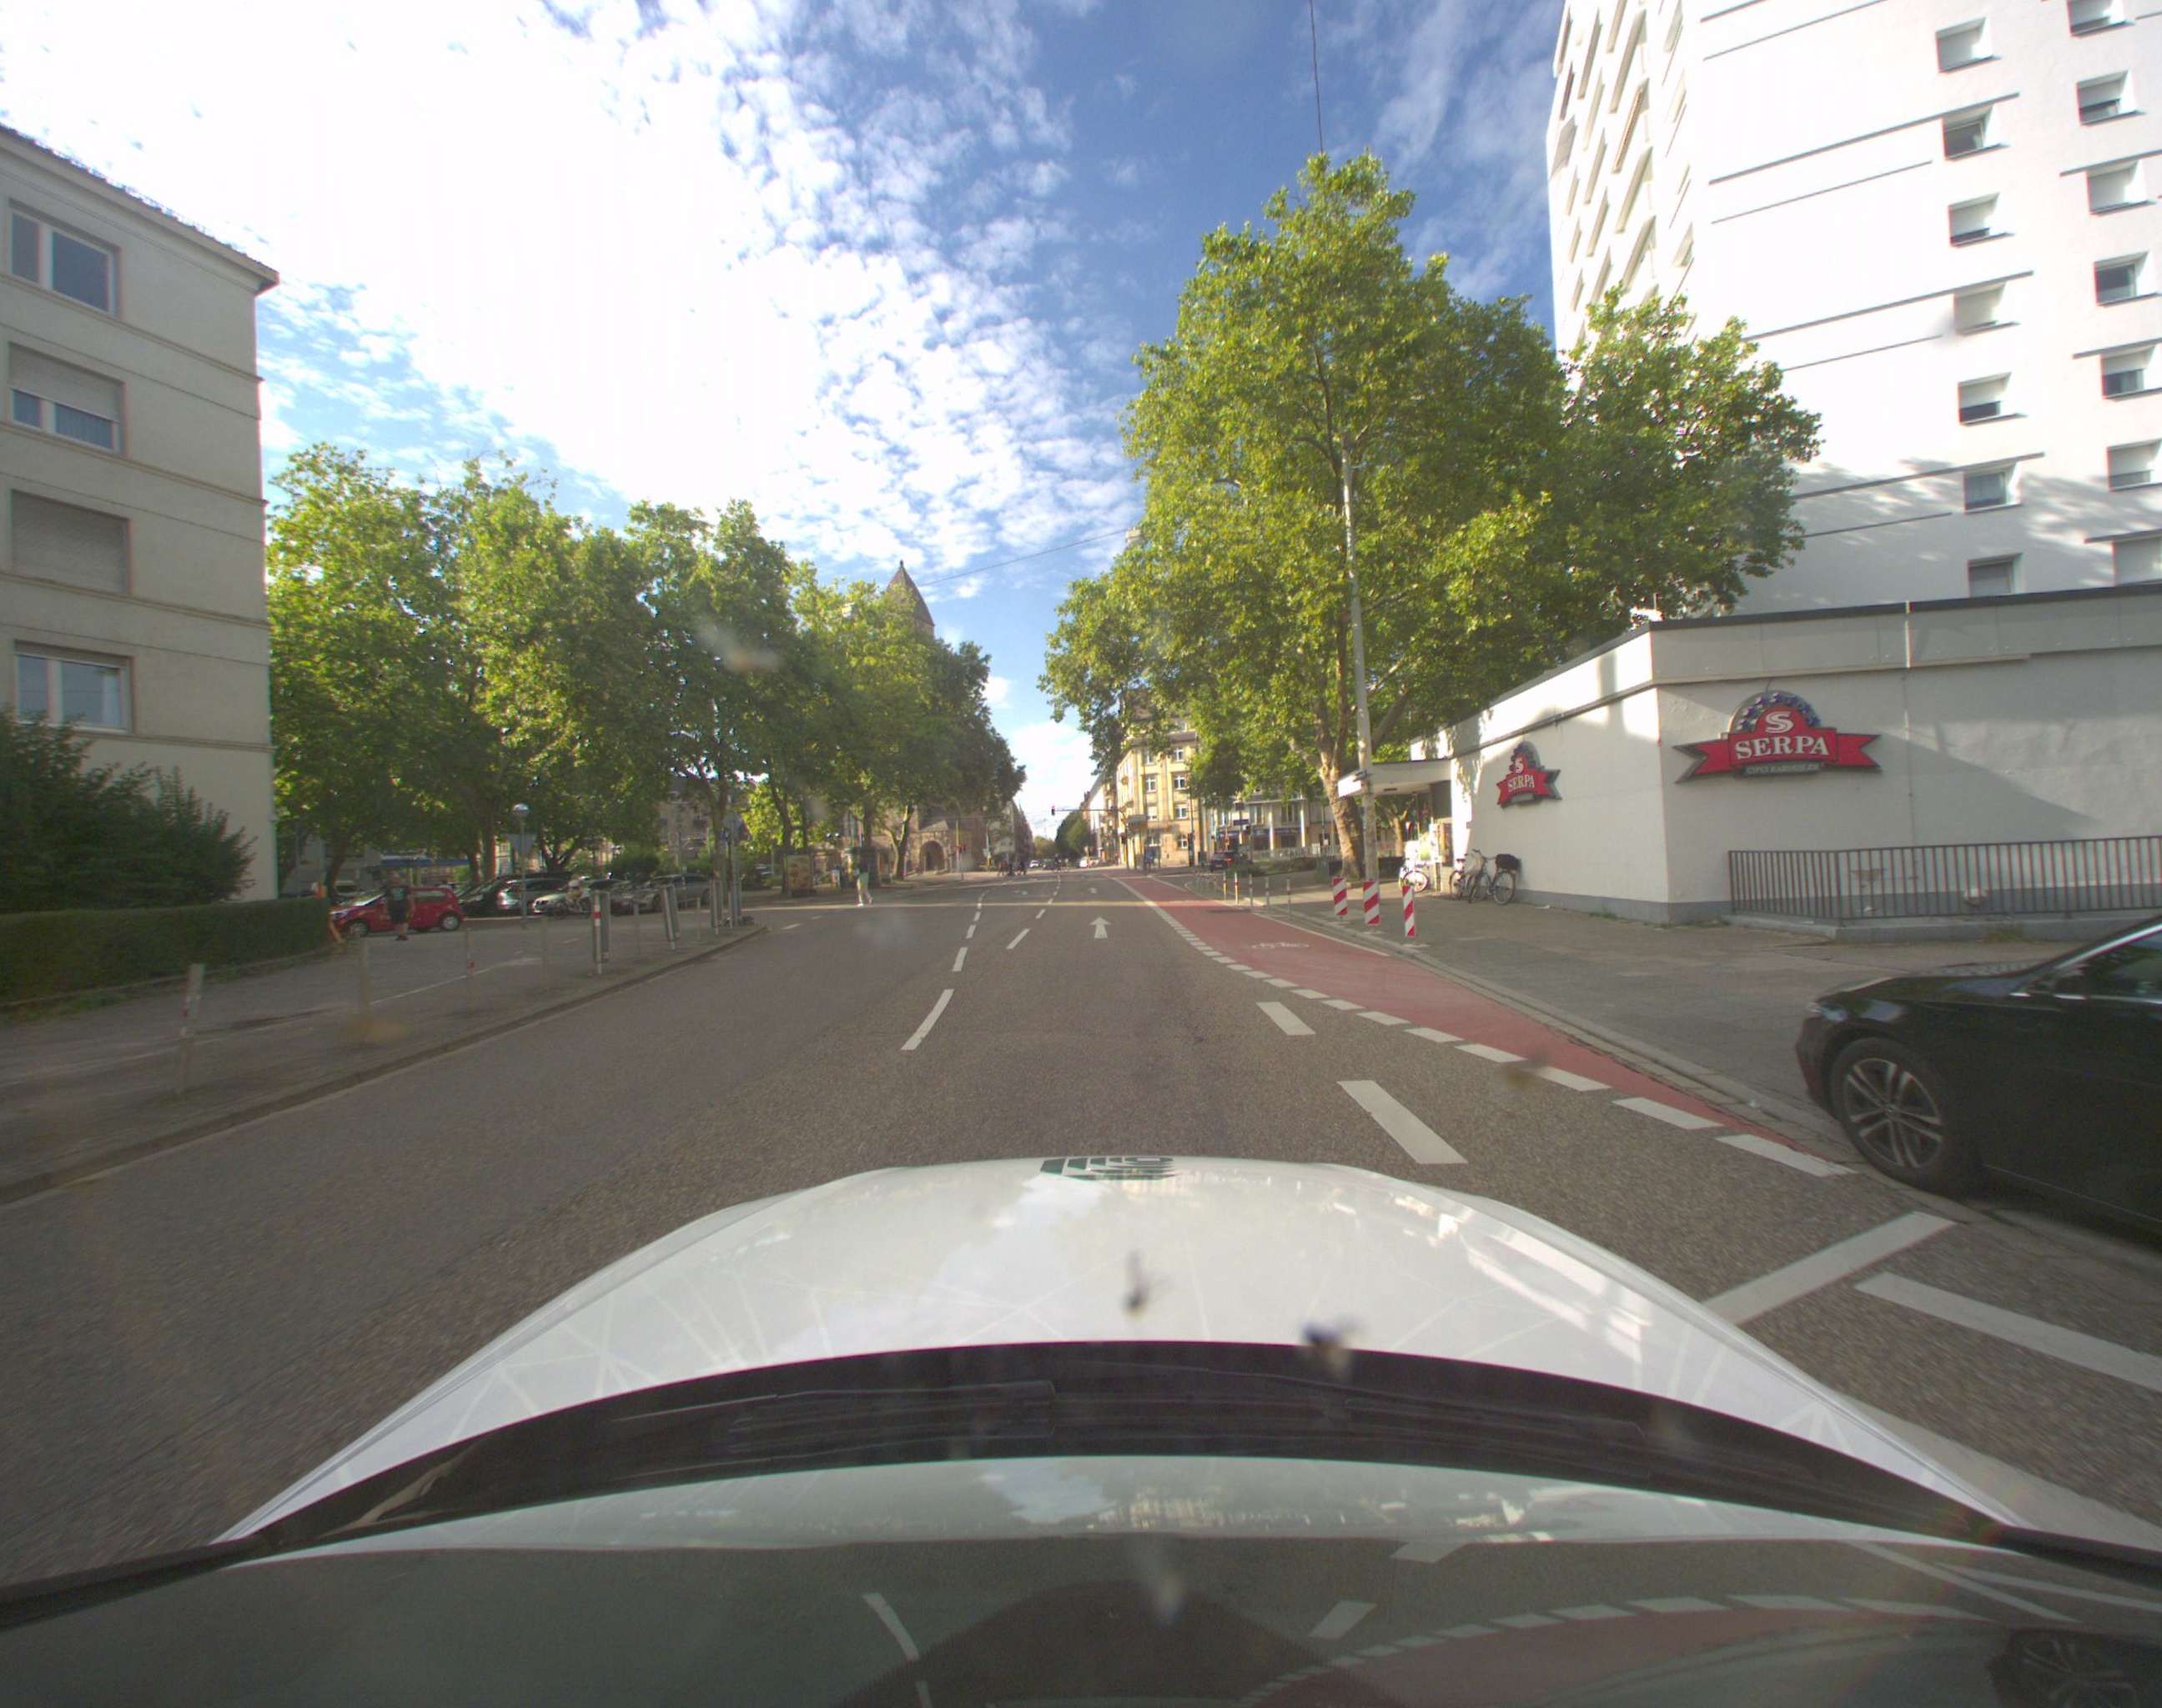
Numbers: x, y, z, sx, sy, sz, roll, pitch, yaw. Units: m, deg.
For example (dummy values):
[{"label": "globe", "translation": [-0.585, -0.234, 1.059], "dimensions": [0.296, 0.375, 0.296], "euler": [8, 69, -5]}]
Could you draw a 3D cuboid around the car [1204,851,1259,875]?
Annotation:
[{"label": "car", "translation": [10.067, 0.583, 54.346], "dimensions": [1.735, 1.413, 4.025], "euler": [-2, 0, 42]}]

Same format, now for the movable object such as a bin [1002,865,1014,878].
[{"label": "movable object such as a bin", "translation": [-6.593, 1.563, 73.296], "dimensions": [0.830, 1.123, 0.578], "euler": [-3, -1, 21]}]

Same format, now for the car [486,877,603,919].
[{"label": "car", "translation": [-24.667, 2.006, 37.621], "dimensions": [1.664, 1.616, 4.298], "euler": [-3, 0, 20]}]

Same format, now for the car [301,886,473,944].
[{"label": "car", "translation": [-21.483, 1.858, 25.373], "dimensions": [1.577, 1.477, 3.727], "euler": [-3, 0, 23]}]

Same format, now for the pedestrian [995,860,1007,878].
[{"label": "pedestrian", "translation": [-7.245, 1.348, 73.525], "dimensions": [0.807, 1.629, 0.608], "euler": [-3, 0, 22]}]

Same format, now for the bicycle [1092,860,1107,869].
[{"label": "bicycle", "translation": [2.653, 1.479, 114.988], "dimensions": [2.024, 1.082, 0.628], "euler": [-3, 0, -12]}]

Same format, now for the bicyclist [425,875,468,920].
[{"label": "bicyclist", "translation": [-24.763, 1.686, 31.799], "dimensions": [1.100, 1.691, 0.819], "euler": [-3, -1, 22]}]

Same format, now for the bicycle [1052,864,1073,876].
[{"label": "bicycle", "translation": [-1.751, 1.491, 76.064], "dimensions": [1.813, 0.955, 0.576], "euler": [-3, -1, 24]}]

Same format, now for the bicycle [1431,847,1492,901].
[{"label": "bicycle", "translation": [8.993, 0.451, 19.331], "dimensions": [0.707, 1.206, 1.773], "euler": [-3, 0, 5]}]

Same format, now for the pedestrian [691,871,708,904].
[{"label": "pedestrian", "translation": [-20.464, 1.784, 43.656], "dimensions": [0.499, 1.715, 0.706], "euler": [-3, 0, -1]}]

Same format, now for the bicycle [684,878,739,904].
[{"label": "bicycle", "translation": [-18.408, 1.824, 40.664], "dimensions": [1.377, 1.209, 2.113], "euler": [-3, -3, 22]}]

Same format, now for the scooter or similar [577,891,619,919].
[{"label": "scooter or similar", "translation": [-17.477, 1.850, 29.485], "dimensions": [1.003, 0.923, 0.812], "euler": [-3, 0, 18]}]

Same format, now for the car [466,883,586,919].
[{"label": "car", "translation": [-26.415, 2.202, 38.949], "dimensions": [1.838, 1.377, 4.410], "euler": [-3, 0, 20]}]

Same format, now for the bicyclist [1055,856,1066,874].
[{"label": "bicyclist", "translation": [-1.904, 1.031, 76.119], "dimensions": [0.771, 1.579, 0.629], "euler": [-3, -1, 24]}]

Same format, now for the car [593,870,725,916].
[{"label": "car", "translation": [-17.745, 1.590, 34.602], "dimensions": [2.218, 1.585, 4.992], "euler": [-3, 0, 13]}]

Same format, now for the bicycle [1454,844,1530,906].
[{"label": "bicycle", "translation": [8.792, 0.426, 17.512], "dimensions": [0.765, 1.206, 1.818], "euler": [-4, 0, 5]}]

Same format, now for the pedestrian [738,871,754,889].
[{"label": "pedestrian", "translation": [-24.936, 1.917, 60.603], "dimensions": [0.808, 1.288, 0.728], "euler": [-1, -1, 31]}]

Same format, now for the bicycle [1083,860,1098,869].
[{"label": "bicycle", "translation": [1.311, 1.494, 114.413], "dimensions": [2.024, 1.082, 0.618], "euler": [-3, 0, -12]}]

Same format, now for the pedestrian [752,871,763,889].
[{"label": "pedestrian", "translation": [-23.962, 1.897, 60.274], "dimensions": [0.725, 1.288, 0.811], "euler": [0, -1, -27]}]

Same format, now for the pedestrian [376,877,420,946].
[{"label": "pedestrian", "translation": [-16.502, 1.370, 19.687], "dimensions": [0.738, 1.578, 0.724], "euler": [-2, -1, -37]}]

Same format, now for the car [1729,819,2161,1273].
[{"label": "car", "translation": [4.294, 0.589, 2.310], "dimensions": [1.752, 1.411, 4.239], "euler": [-4, 0, 5]}]

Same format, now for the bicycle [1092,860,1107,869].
[{"label": "bicycle", "translation": [2.617, 1.444, 114.303], "dimensions": [2.024, 1.082, 0.618], "euler": [-3, 0, -12]}]

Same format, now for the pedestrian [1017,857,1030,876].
[{"label": "pedestrian", "translation": [-5.161, 1.127, 73.364], "dimensions": [0.774, 1.662, 0.783], "euler": [-3, 0, 21]}]

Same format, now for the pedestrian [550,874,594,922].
[{"label": "pedestrian", "translation": [-18.686, 1.608, 29.891], "dimensions": [1.064, 1.654, 0.819], "euler": [-3, -1, 16]}]

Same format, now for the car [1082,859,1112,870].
[{"label": "car", "translation": [2.282, 1.473, 116.701], "dimensions": [3.981, 1.420, 1.996], "euler": [-3, 0, -6]}]

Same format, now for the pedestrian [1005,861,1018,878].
[{"label": "pedestrian", "translation": [-6.159, 1.403, 72.115], "dimensions": [0.774, 1.432, 0.735], "euler": [-3, 0, 22]}]

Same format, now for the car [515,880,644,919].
[{"label": "car", "translation": [-22.171, 1.969, 36.260], "dimensions": [1.653, 1.377, 4.863], "euler": [-3, 0, 20]}]

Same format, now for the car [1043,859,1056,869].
[{"label": "car", "translation": [-4.809, 1.544, 124.363], "dimensions": [1.944, 1.372, 3.997], "euler": [-3, 0, -2]}]

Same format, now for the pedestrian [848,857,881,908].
[{"label": "pedestrian", "translation": [-7.718, 1.014, 29.001], "dimensions": [1.076, 1.753, 0.914], "euler": [-1, -1, -15]}]

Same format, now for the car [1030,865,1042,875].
[{"label": "car", "translation": [-9.549, 3.349, 172.836], "dimensions": [1.986, 2.013, 4.002], "euler": [-3, 0, 2]}]

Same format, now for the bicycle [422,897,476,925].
[{"label": "bicycle", "translation": [-24.587, 2.208, 31.701], "dimensions": [1.903, 0.994, 0.767], "euler": [-3, 0, 22]}]

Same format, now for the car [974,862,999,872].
[{"label": "car", "translation": [-16.264, 2.216, 140.174], "dimensions": [4.021, 1.596, 1.847], "euler": [-3, 0, -41]}]

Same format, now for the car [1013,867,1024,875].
[{"label": "car", "translation": [-11.494, 3.110, 149.534], "dimensions": [1.545, 1.230, 3.588], "euler": [-2, 0, 1]}]

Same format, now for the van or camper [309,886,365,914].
[{"label": "van or camper", "translation": [-67.646, 4.215, 74.043], "dimensions": [4.436, 2.328, 2.124], "euler": [-3, 0, 25]}]

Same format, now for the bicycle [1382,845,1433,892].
[{"label": "bicycle", "translation": [9.239, 0.413, 23.132], "dimensions": [0.709, 1.206, 1.817], "euler": [-6, -1, 3]}]
